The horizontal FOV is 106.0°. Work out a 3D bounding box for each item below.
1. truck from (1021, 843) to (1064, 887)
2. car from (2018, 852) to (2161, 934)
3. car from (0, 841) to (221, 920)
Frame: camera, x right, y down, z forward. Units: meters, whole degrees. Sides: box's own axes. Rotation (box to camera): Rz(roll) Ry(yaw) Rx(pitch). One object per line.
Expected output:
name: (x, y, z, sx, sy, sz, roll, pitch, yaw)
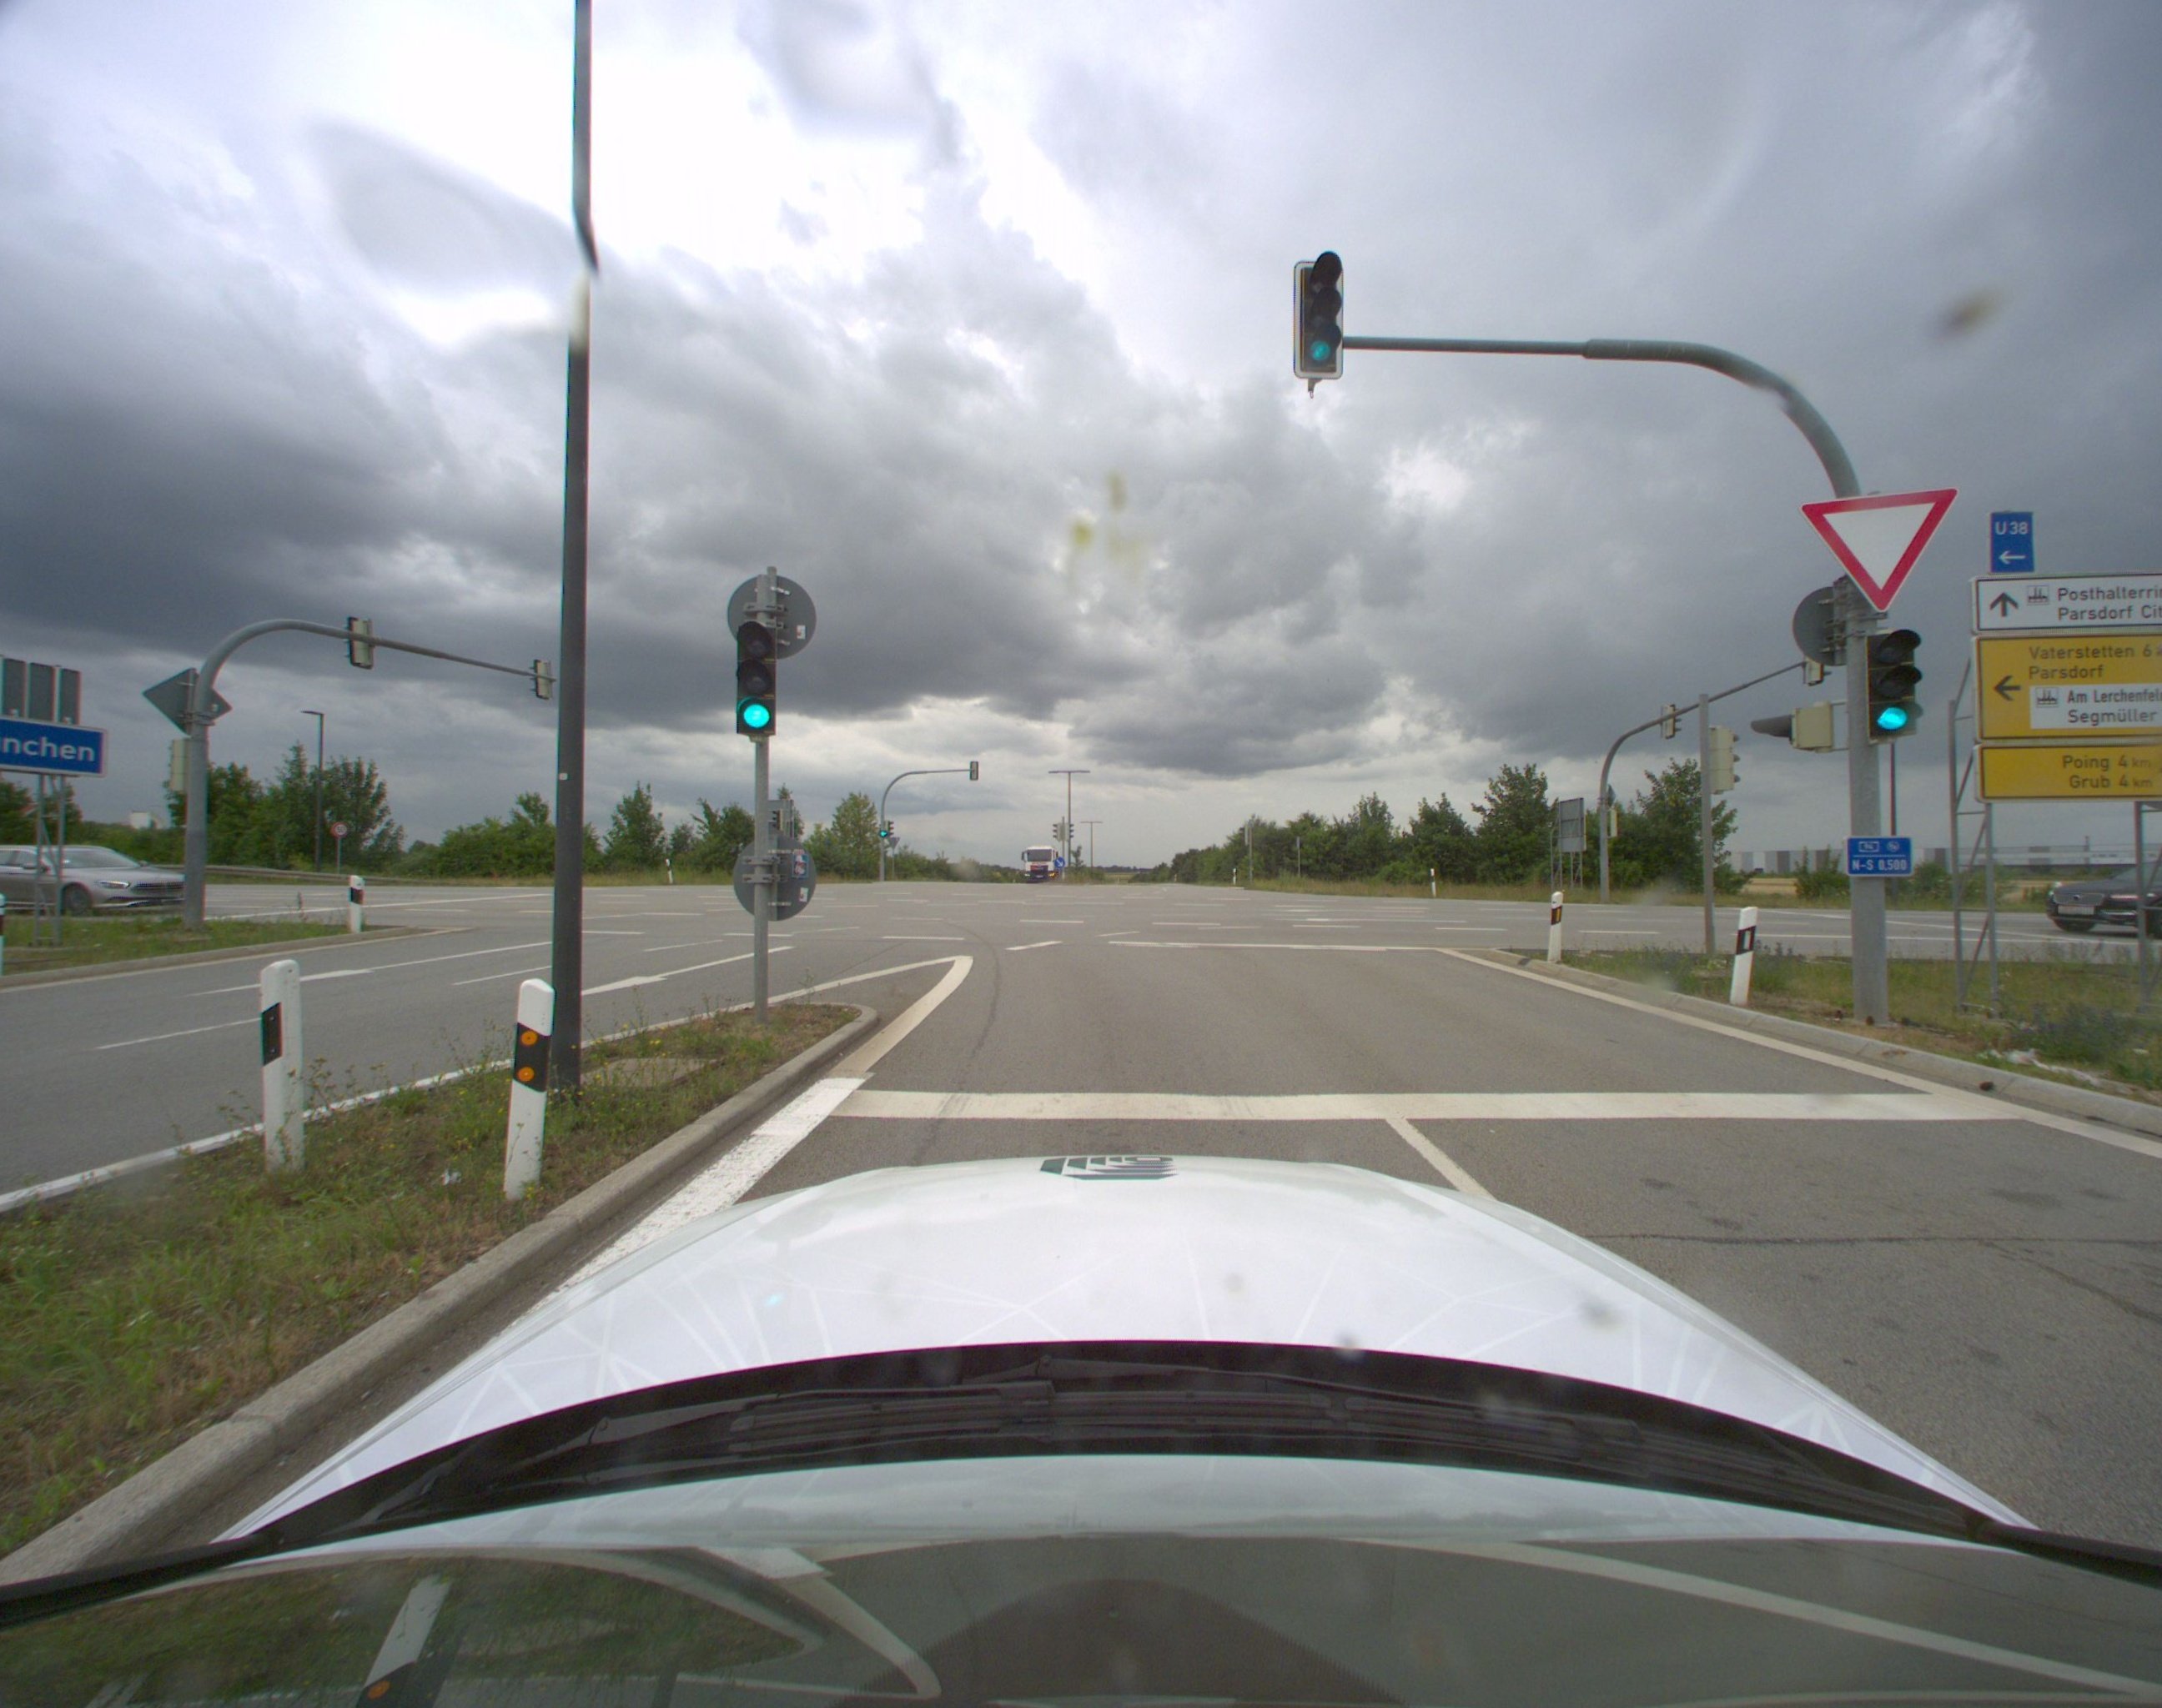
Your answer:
truck: (-3.111, 1.018, 68.448, 2.858, 3.408, 8.653, 0, -2, 2)
car: (23.957, 0.833, 17.455, 4.951, 1.684, 2.006, 0, -1, 10)
car: (-22.458, 0.534, 18.090, 4.909, 1.610, 1.924, 0, 1, 5)
